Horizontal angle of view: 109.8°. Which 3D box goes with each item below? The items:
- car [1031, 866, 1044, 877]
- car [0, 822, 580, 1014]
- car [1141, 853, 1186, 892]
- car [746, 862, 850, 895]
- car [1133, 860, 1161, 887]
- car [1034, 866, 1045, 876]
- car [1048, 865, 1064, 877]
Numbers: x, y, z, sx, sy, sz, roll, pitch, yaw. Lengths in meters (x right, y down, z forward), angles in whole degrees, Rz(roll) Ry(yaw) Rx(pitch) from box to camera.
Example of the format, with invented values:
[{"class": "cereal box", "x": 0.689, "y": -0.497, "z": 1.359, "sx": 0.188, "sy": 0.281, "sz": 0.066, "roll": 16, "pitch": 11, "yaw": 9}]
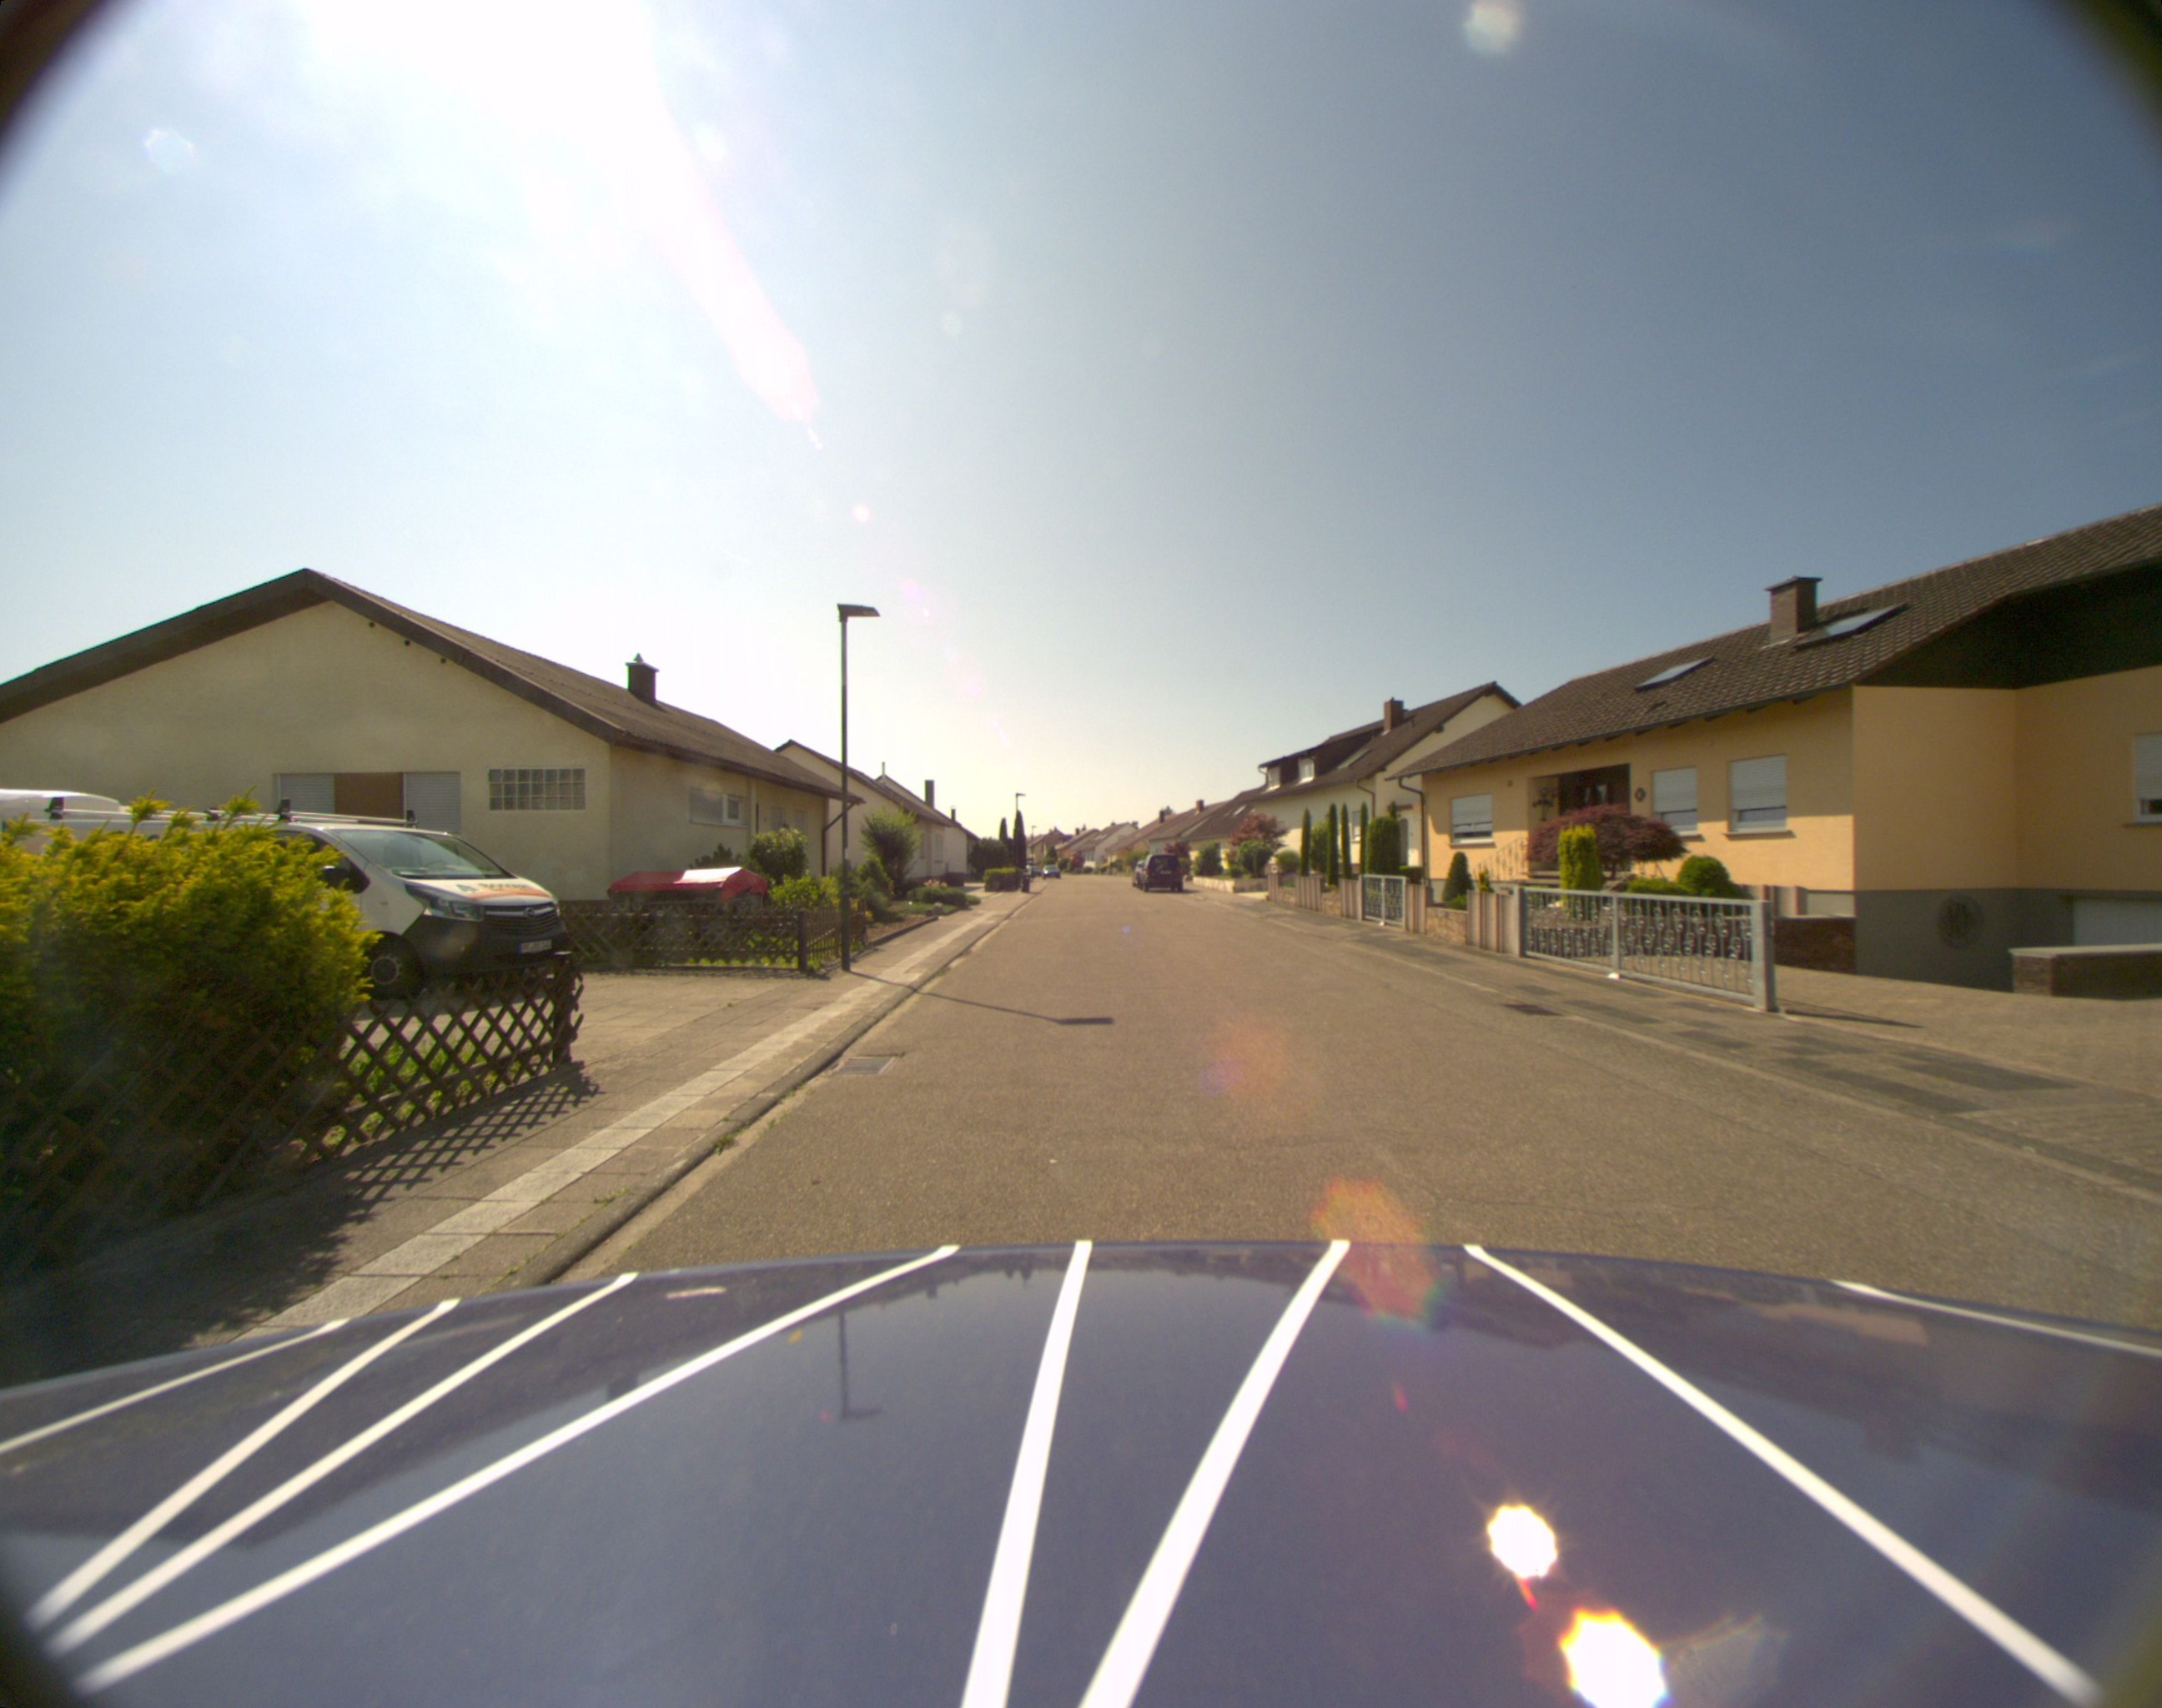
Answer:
[{"class": "car", "x": -5.410, "y": 2.117, "z": 93.551, "sx": 1.460, "sy": 1.270, "sz": 3.101, "roll": 0, "pitch": 0, "yaw": -7}, {"class": "car", "x": -8.978, "y": 0.667, "z": 8.911, "sx": 5.008, "sy": 2.002, "sz": 1.868, "roll": 0, "pitch": 0, "yaw": 2}, {"class": "car", "x": 3.885, "y": 0.840, "z": 36.340, "sx": 1.769, "sy": 1.767, "sz": 3.652, "roll": -1, "pitch": 0, "yaw": 0}, {"class": "car", "x": -12.498, "y": 1.075, "z": 33.704, "sx": 3.999, "sy": 1.414, "sz": 1.693, "roll": 0, "pitch": 0, "yaw": -5}, {"class": "car", "x": 3.588, "y": 1.048, "z": 41.708, "sx": 1.305, "sy": 1.415, "sz": 3.103, "roll": -1, "pitch": 0, "yaw": 0}, {"class": "car", "x": -5.669, "y": 2.276, "z": 103.796, "sx": 1.459, "sy": 1.270, "sz": 3.102, "roll": 0, "pitch": 0, "yaw": -5}, {"class": "car", "x": -2.703, "y": 1.773, "z": 81.005, "sx": 1.459, "sy": 1.270, "sz": 3.102, "roll": 0, "pitch": 0, "yaw": -6}]
